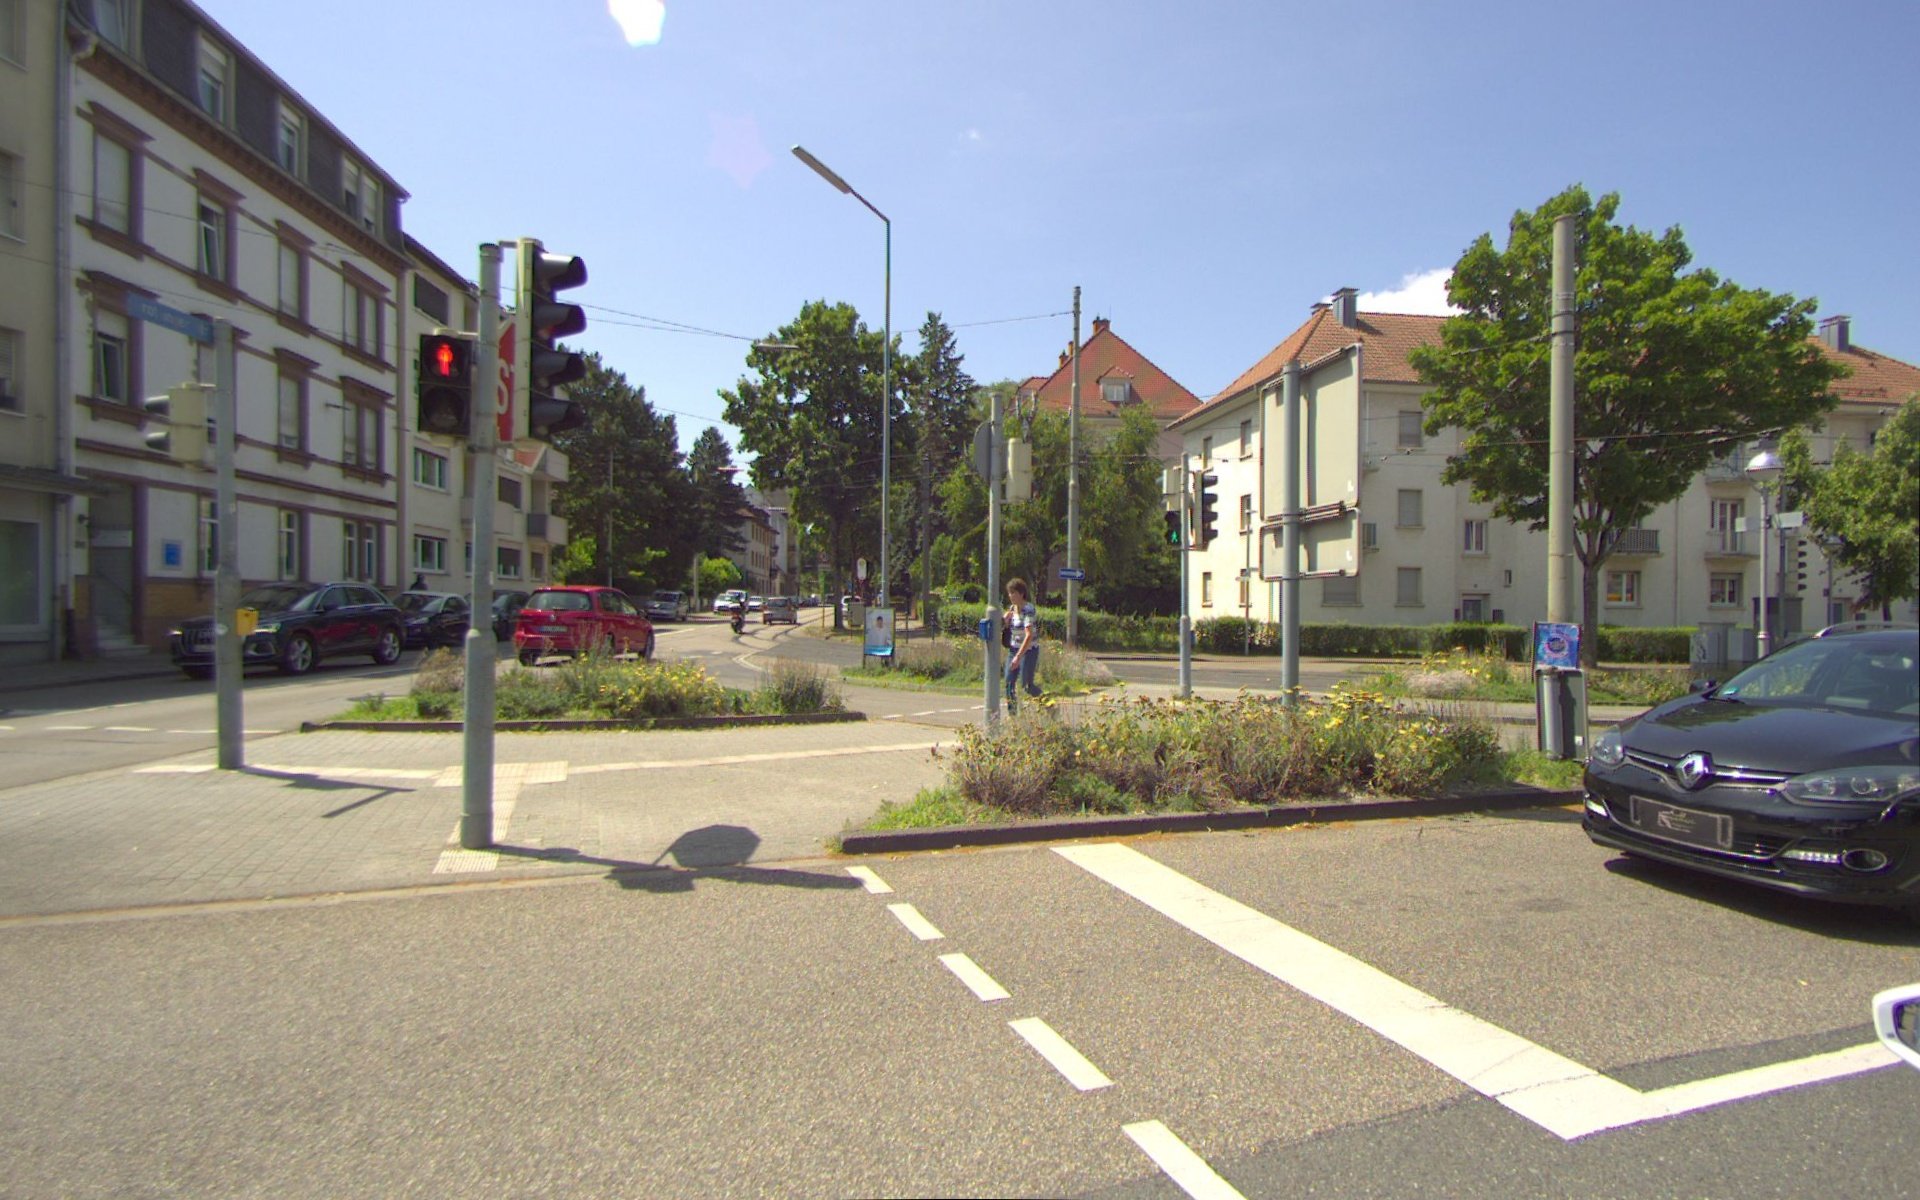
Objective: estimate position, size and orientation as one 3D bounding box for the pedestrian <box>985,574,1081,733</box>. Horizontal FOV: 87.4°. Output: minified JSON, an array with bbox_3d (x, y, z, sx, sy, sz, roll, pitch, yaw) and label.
[{"bbox_3d":[0.816,0.586,11.407,0.825,1.728,0.759,1,0,-21],"label":"pedestrian"}]

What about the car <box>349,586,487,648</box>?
[{"bbox_3d":[-14.892,0.460,27.856,1.963,1.539,3.996,2,-1,-7],"label":"car"}]

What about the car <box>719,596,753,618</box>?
[{"bbox_3d":[-17.906,0.566,80.439,1.769,1.578,4.037,4,0,0],"label":"car"}]

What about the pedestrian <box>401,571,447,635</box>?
[{"bbox_3d":[-16.747,0.104,31.406,0.920,1.957,0.976,1,0,-5],"label":"pedestrian"}]

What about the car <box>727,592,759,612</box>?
[{"bbox_3d":[-18.672,0.200,86.715,1.769,1.578,4.037,4,0,0],"label":"car"}]

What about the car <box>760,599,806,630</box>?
[{"bbox_3d":[-9.747,0.777,55.511,1.769,1.578,4.037,1,0,0],"label":"car"}]

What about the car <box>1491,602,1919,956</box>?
[{"bbox_3d":[5.678,0.820,6.072,4.359,1.520,1.990,1,0,-21],"label":"car"}]

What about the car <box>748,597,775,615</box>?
[{"bbox_3d":[-19.414,0.589,98.396,1.769,1.578,4.037,4,0,0],"label":"car"}]

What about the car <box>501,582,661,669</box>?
[{"bbox_3d":[-7.777,0.489,21.035,1.769,1.578,4.037,2,0,0],"label":"car"}]

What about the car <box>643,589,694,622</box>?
[{"bbox_3d":[-16.634,0.300,57.502,1.770,1.740,4.036,4,0,-2],"label":"car"}]

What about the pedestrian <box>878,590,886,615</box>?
[{"bbox_3d":[-5.368,0.185,69.206,0.500,1.678,0.466,2,1,0],"label":"pedestrian"}]

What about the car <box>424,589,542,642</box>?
[{"bbox_3d":[-15.165,0.472,32.186,1.962,1.530,4.378,1,0,-5],"label":"car"}]

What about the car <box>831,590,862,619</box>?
[{"bbox_3d":[-7.582,0.281,67.425,1.962,1.832,3.996,2,0,-6],"label":"car"}]

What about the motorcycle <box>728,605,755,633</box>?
[{"bbox_3d":[-9.450,0.791,43.498,0.699,1.149,2.197,1,0,0],"label":"motorcycle"}]

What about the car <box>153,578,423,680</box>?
[{"bbox_3d":[-11.830,0.465,18.113,1.821,1.578,4.287,-1,0,3],"label":"car"}]

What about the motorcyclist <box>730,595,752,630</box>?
[{"bbox_3d":[-9.443,0.527,43.289,0.699,1.465,1.019,1,0,0],"label":"motorcyclist"}]
